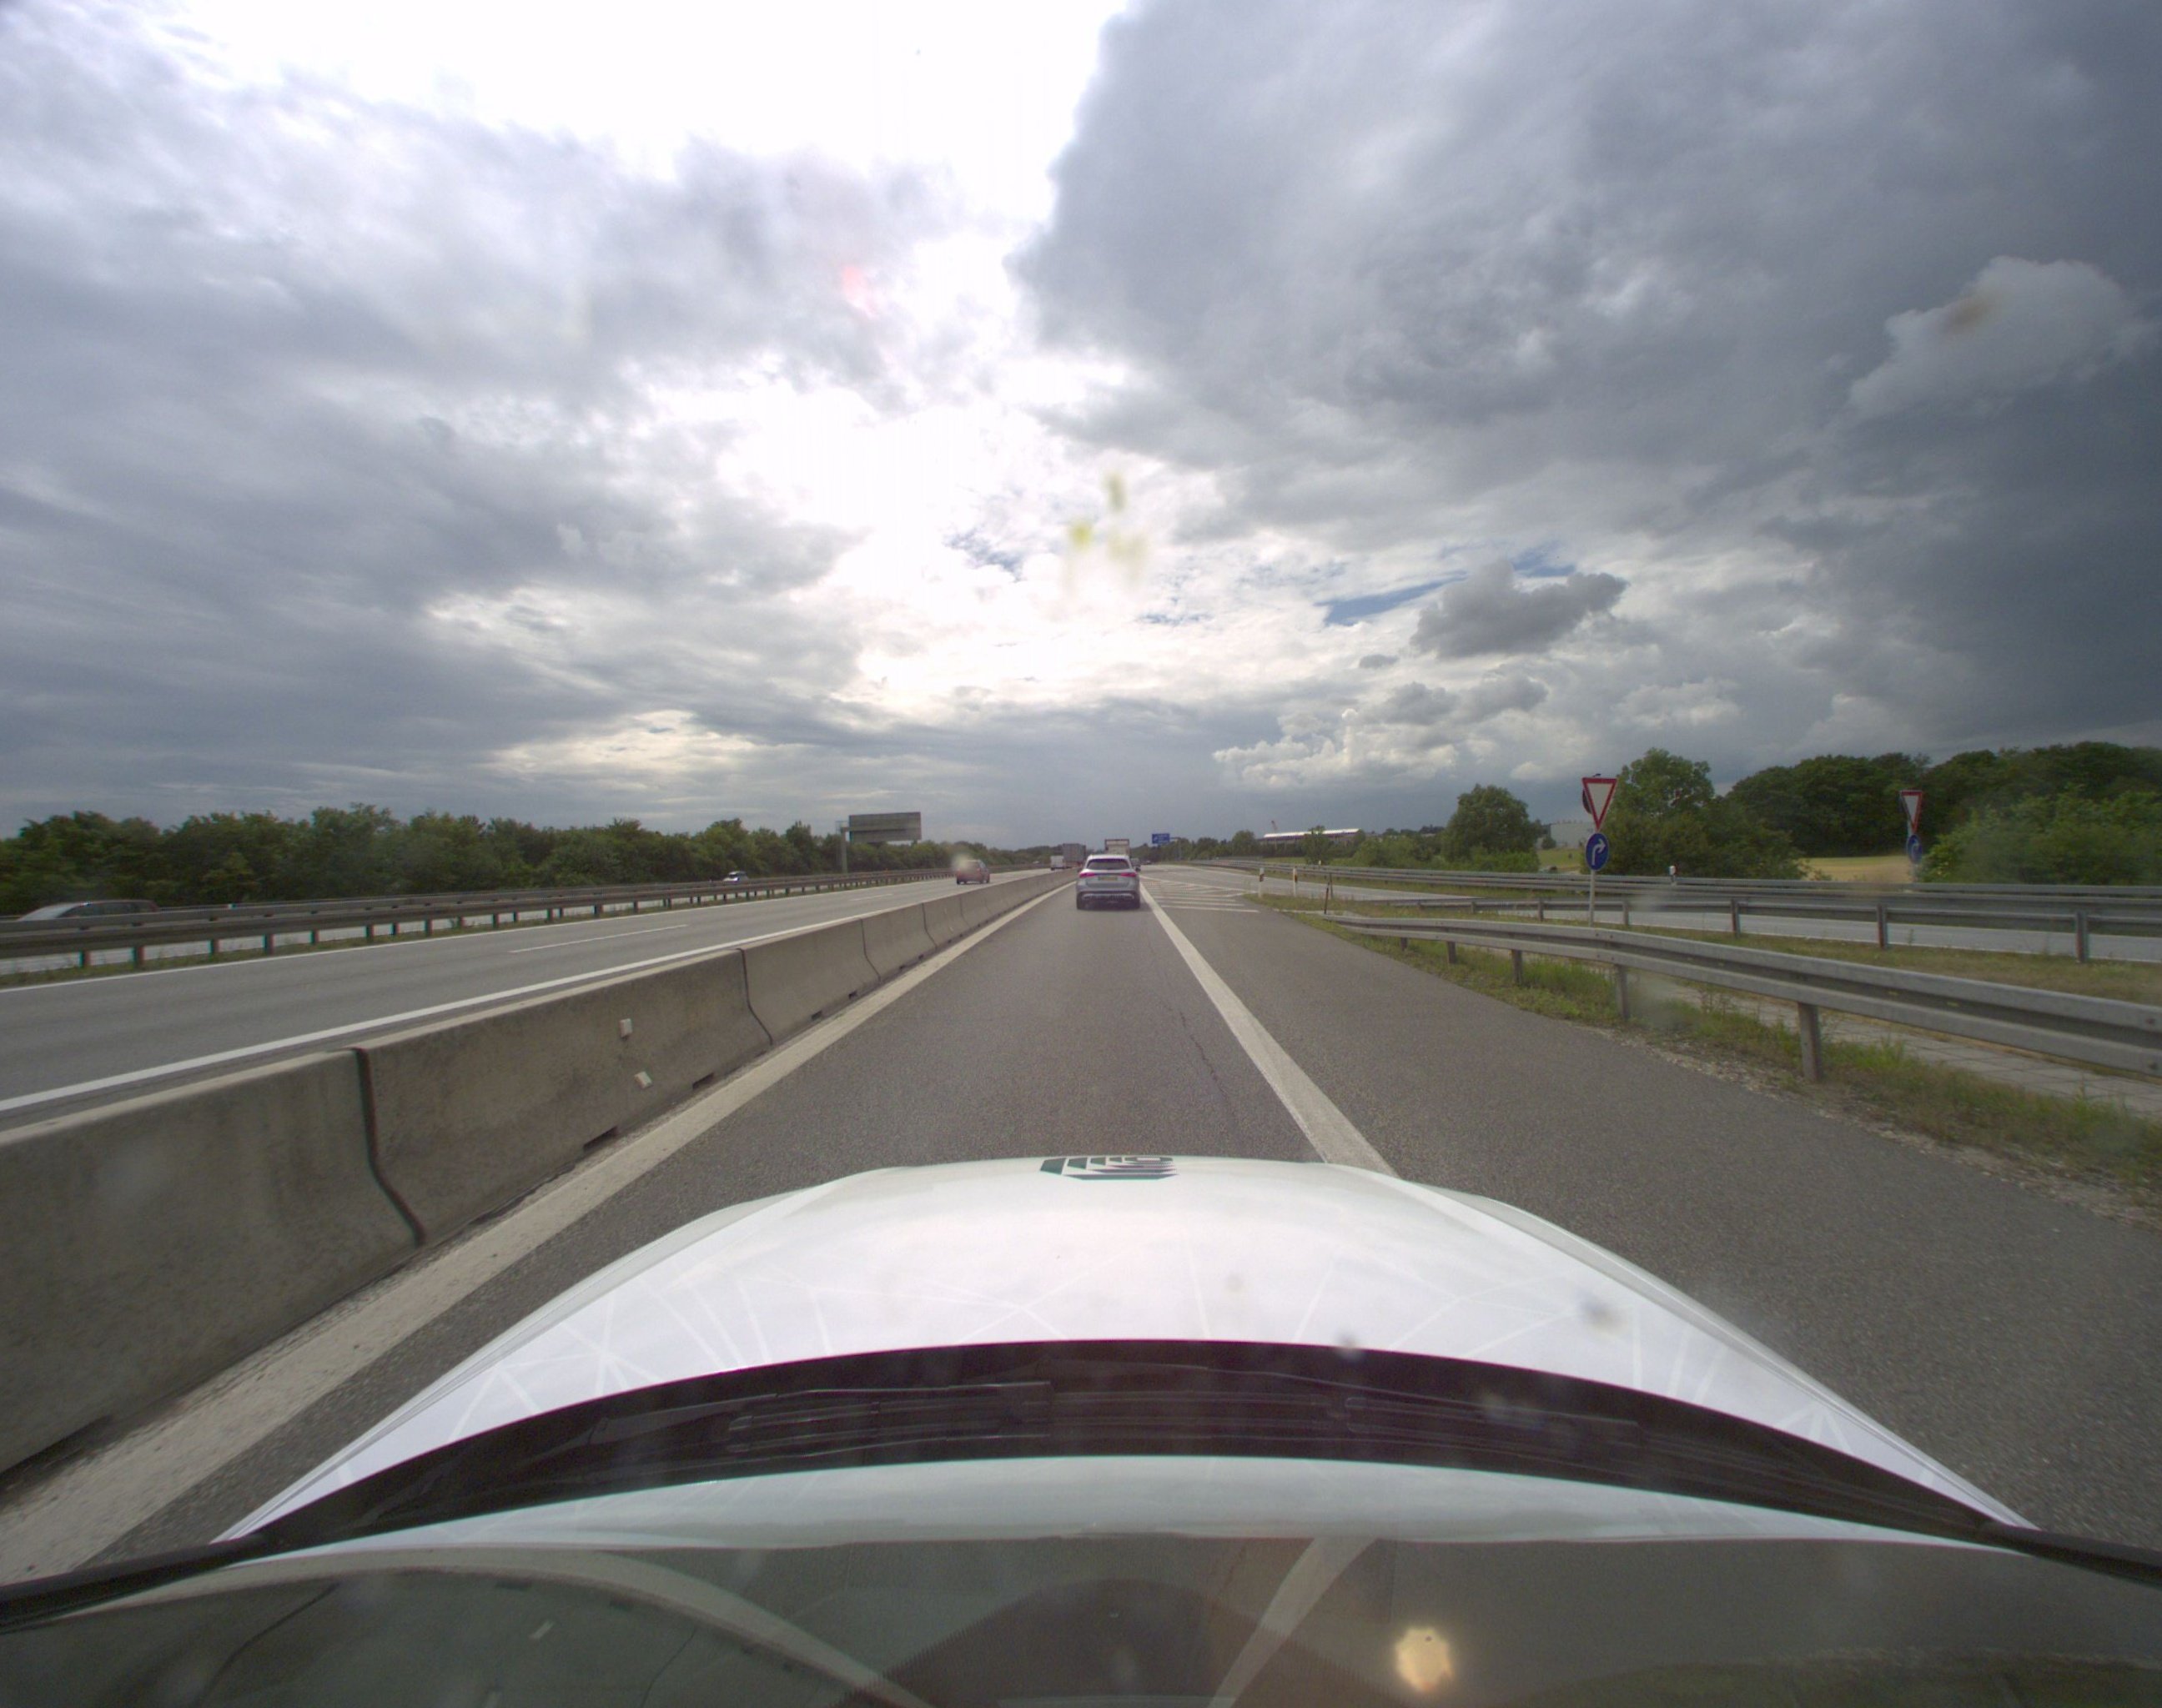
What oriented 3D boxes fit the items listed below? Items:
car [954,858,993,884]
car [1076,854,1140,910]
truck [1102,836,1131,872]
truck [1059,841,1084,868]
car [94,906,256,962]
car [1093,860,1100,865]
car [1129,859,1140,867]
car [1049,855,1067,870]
[{"bbox_3d":[-7.124,1.120,54.200,1.812,1.546,4.357,-1,1,2],"label":"car"},{"bbox_3d":[0.824,0.786,25.233,1.813,1.514,4.002,-1,1,2],"label":"car"},{"bbox_3d":[3.300,0.045,76.762,2.559,3.126,8.637,-1,-1,2],"label":"truck"},{"bbox_3d":[-1.427,0.075,133.702,3.170,4.019,16.085,-1,0,3],"label":"truck"},{"bbox_3d":[-35.037,3.039,31.669,1.682,1.728,4.002,-1,1,1],"label":"car"},{"bbox_3d":[3.996,2.142,209.506,1.688,1.288,4.004,-1,0,4],"label":"car"},{"bbox_3d":[8.689,1.467,132.390,1.688,1.288,4.004,-1,0,4],"label":"car"},{"bbox_3d":[-3.162,1.161,112.305,1.985,2.013,4.379,-1,1,4],"label":"car"}]
